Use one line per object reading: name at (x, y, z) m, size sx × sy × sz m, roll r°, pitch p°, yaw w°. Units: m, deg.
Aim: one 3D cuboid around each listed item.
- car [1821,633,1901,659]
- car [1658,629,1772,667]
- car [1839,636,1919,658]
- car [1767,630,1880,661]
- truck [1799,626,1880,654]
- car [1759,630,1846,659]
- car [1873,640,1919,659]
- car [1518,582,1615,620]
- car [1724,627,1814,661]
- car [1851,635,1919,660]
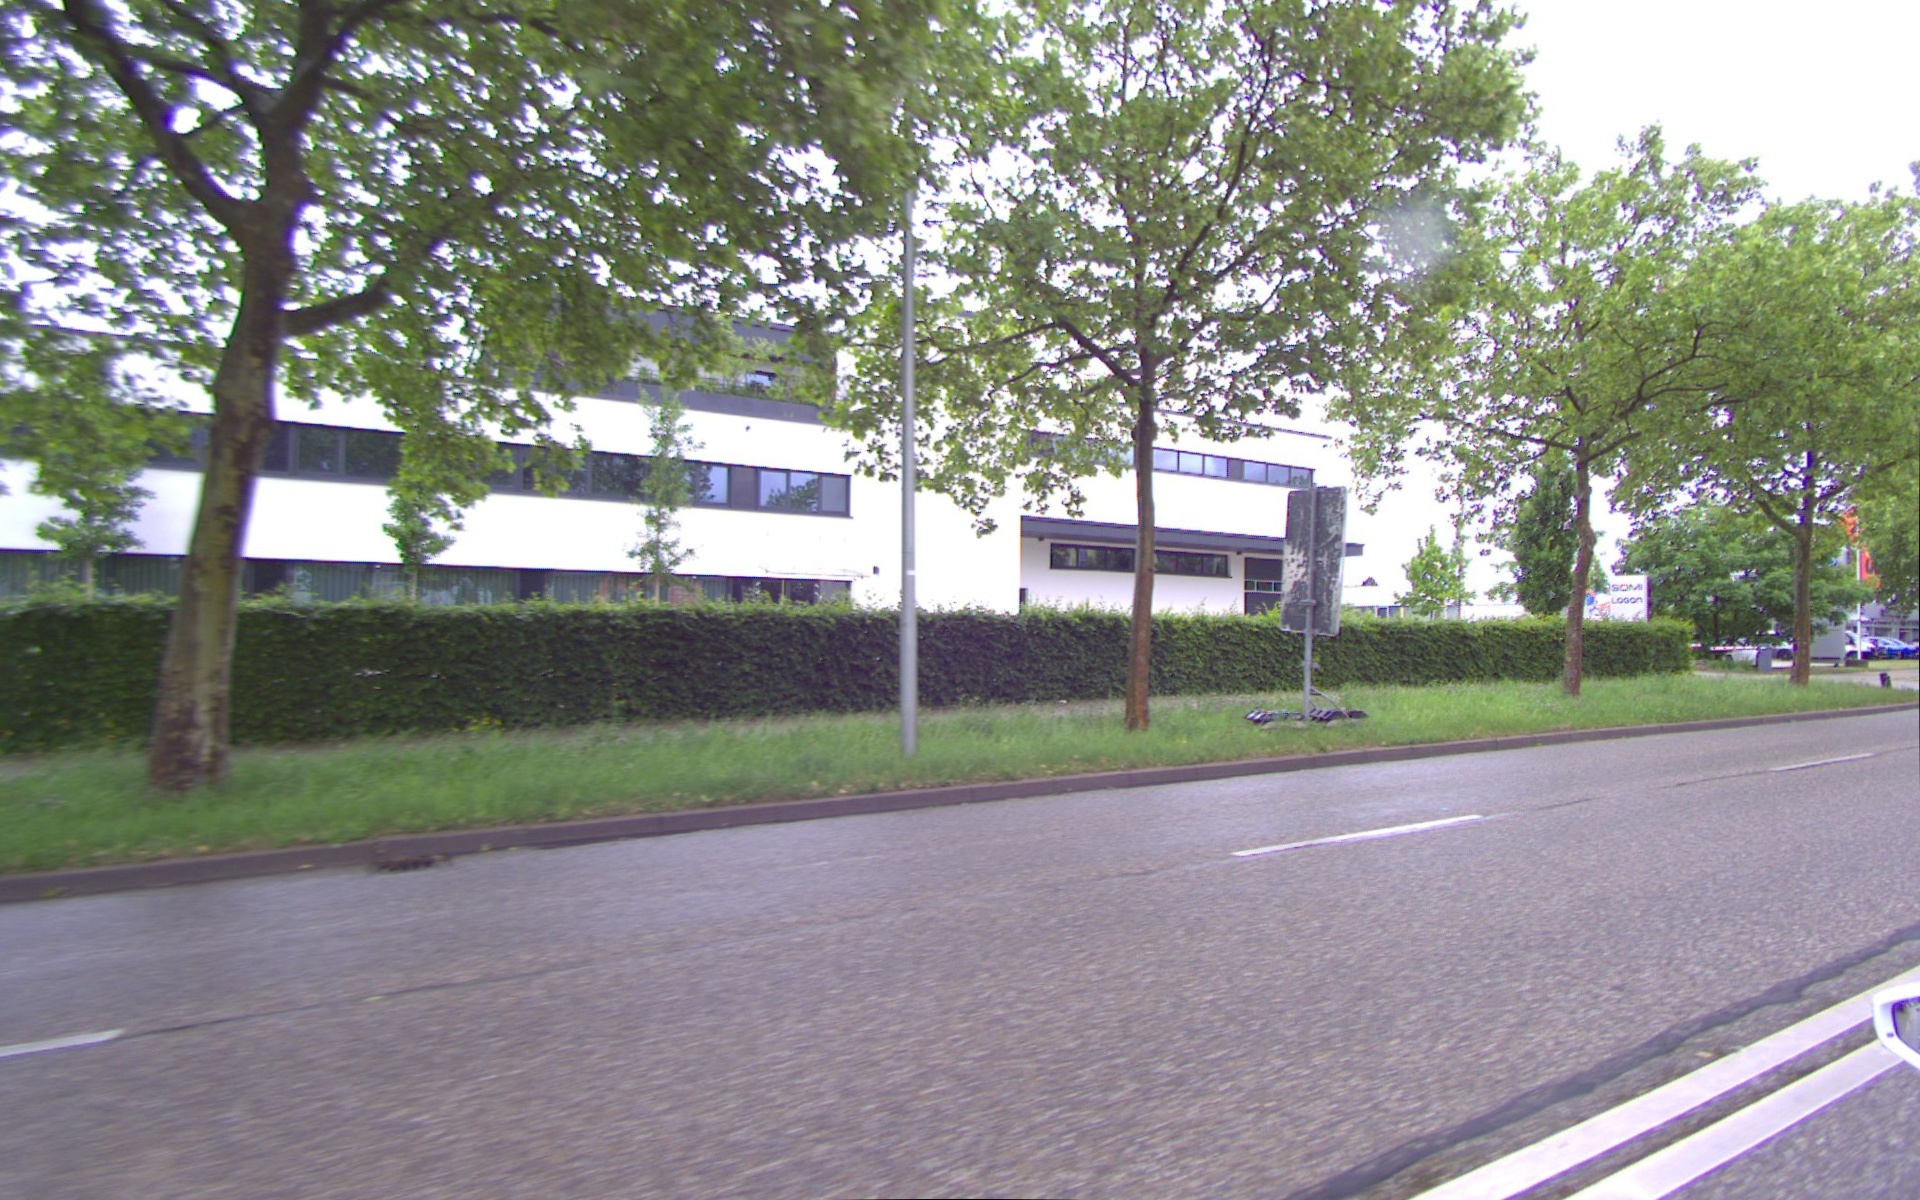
car at (65.032, 3.315, 72.571) m, size 1.834 × 1.790 × 3.988 m, roll 1°, pitch -2°, yaw -15°
car at (31.756, 1.977, 42.190) m, size 5.188 × 1.516 × 2.107 m, roll 1°, pitch -2°, yaw -32°
car at (67.364, 3.415, 73.684) m, size 1.834 × 1.540 × 3.987 m, roll 1°, pitch -2°, yaw -16°
car at (58.009, 3.031, 67.558) m, size 2.390 × 1.928 × 5.344 m, roll 1°, pitch -2°, yaw -33°
truck at (60.698, 2.714, 69.394) m, size 1.984 × 1.862 × 3.954 m, roll 2°, pitch -2°, yaw -39°
car at (54.986, 2.902, 65.610) m, size 1.862 × 1.790 × 3.965 m, roll 1°, pitch -2°, yaw -32°
car at (77.248, 4.007, 81.836) m, size 1.574 × 1.487 × 3.985 m, roll 1°, pitch -2°, yaw -18°
car at (32.247, 0.118, 53.506) m, size 1.940 × 1.914 × 3.970 m, roll 1°, pitch -2°, yaw -29°
car at (50.010, 2.706, 62.160) m, size 1.862 × 2.040 × 3.965 m, roll 1°, pitch -2°, yaw -32°
car at (69.479, 3.515, 75.105) m, size 1.833 × 1.790 × 3.989 m, roll 1°, pitch -2°, yaw -14°
